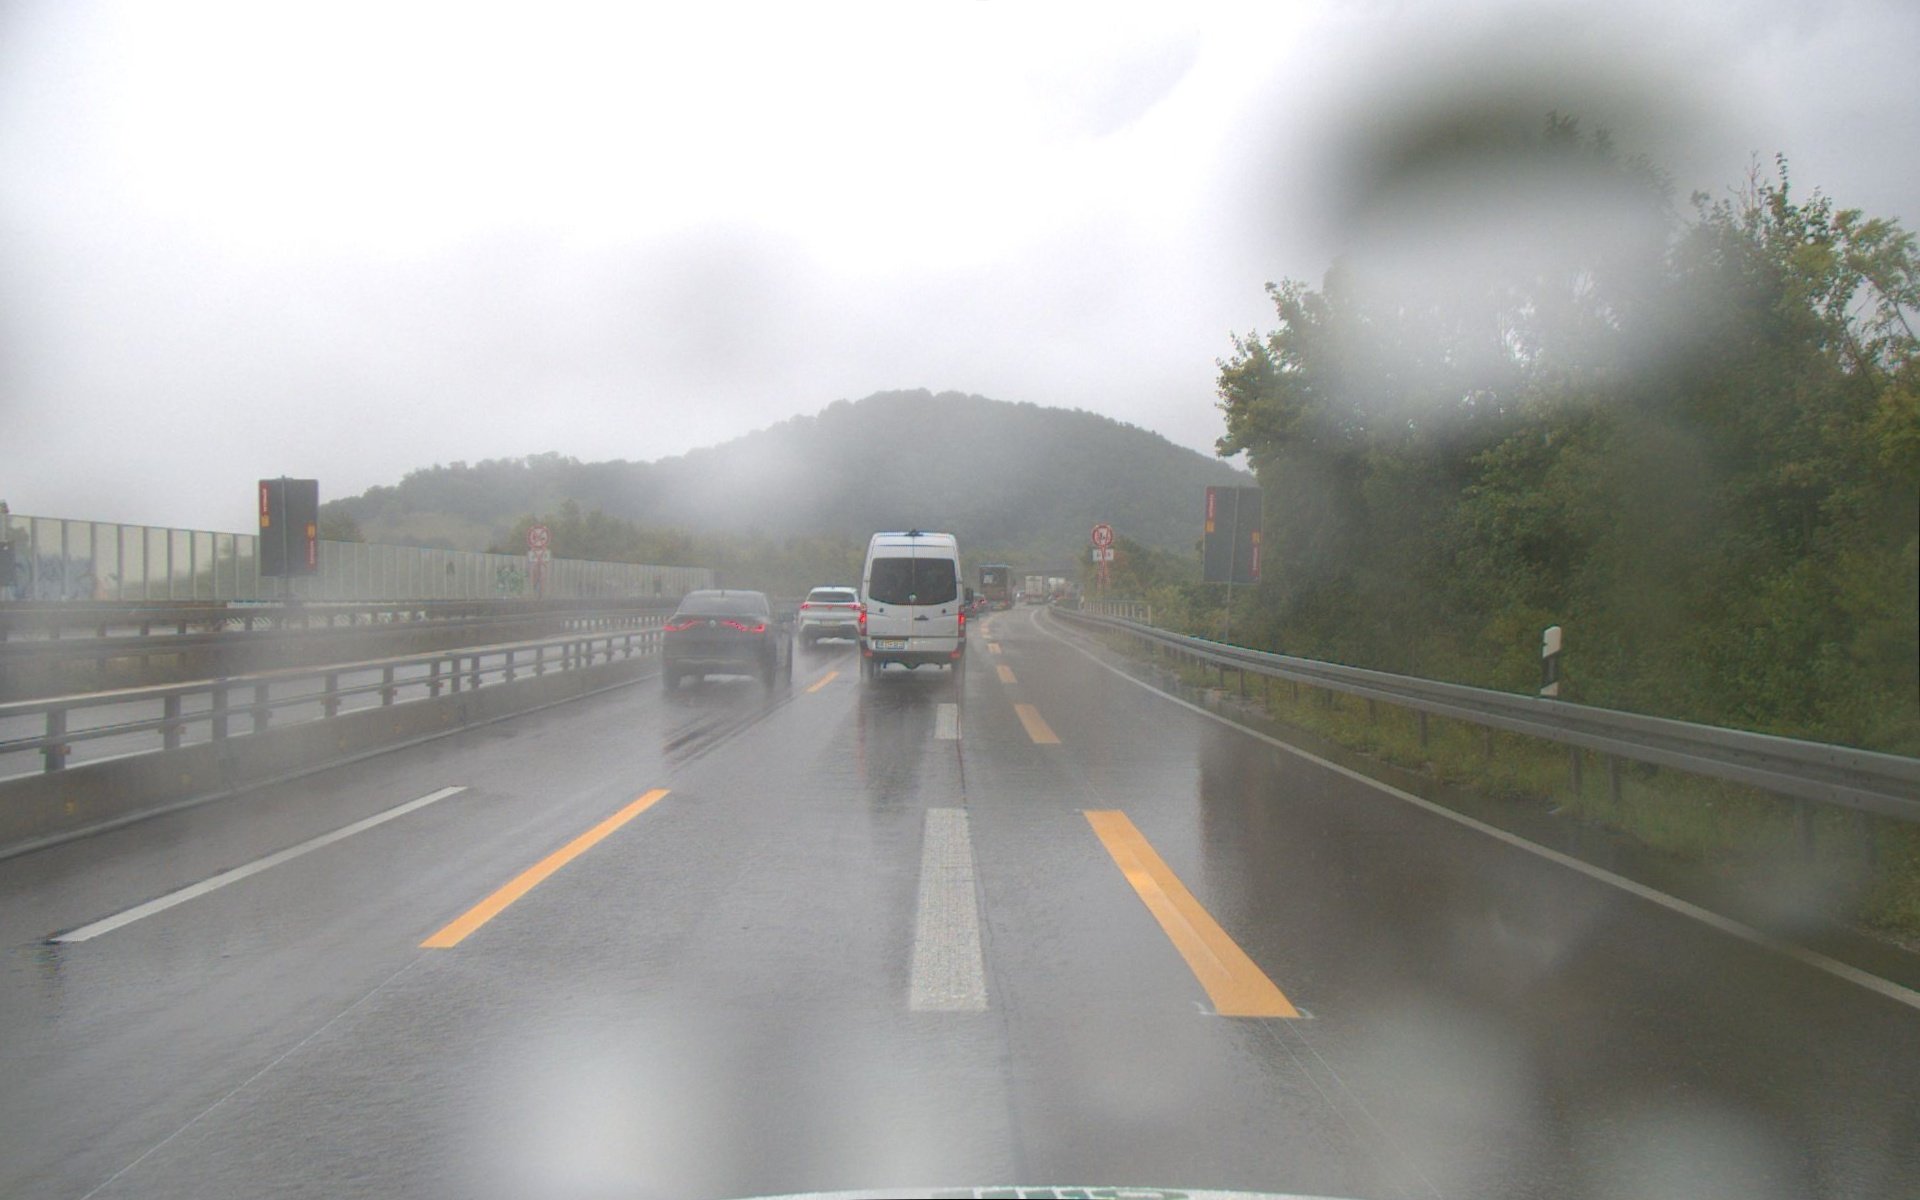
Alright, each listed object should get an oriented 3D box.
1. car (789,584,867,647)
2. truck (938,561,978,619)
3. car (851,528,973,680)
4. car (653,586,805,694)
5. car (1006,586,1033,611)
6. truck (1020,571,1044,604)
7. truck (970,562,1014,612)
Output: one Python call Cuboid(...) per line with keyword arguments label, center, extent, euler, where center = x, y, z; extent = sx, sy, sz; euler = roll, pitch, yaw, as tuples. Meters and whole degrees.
Cuboid(label="car", center=(-3.628, 0.420, 46.188), extent=(1.953, 1.646, 4.794), euler=(1, 0, -2))
Cuboid(label="truck", center=(-0.049, -0.522, 94.917), extent=(1.952, 3.163, 8.500), euler=(1, 0, 2))
Cuboid(label="car", center=(-0.842, 0.073, 31.594), extent=(2.101, 2.616, 5.389), euler=(1, 0, 0))
Cuboid(label="car", center=(-3.731, 0.612, 27.451), extent=(1.953, 1.613, 4.412), euler=(1, 0, -1))
Cuboid(label="car", center=(7.300, -0.191, 201.997), extent=(2.837, 2.938, 6.415), euler=(1, 0, 6))
Cuboid(label="truck", center=(10.188, -1.717, 232.598), extent=(2.972, 4.483, 9.629), euler=(1, 0, 5))
Cuboid(label="truck", center=(3.071, -1.183, 154.694), extent=(3.506, 4.483, 9.628), euler=(1, 0, 4))
